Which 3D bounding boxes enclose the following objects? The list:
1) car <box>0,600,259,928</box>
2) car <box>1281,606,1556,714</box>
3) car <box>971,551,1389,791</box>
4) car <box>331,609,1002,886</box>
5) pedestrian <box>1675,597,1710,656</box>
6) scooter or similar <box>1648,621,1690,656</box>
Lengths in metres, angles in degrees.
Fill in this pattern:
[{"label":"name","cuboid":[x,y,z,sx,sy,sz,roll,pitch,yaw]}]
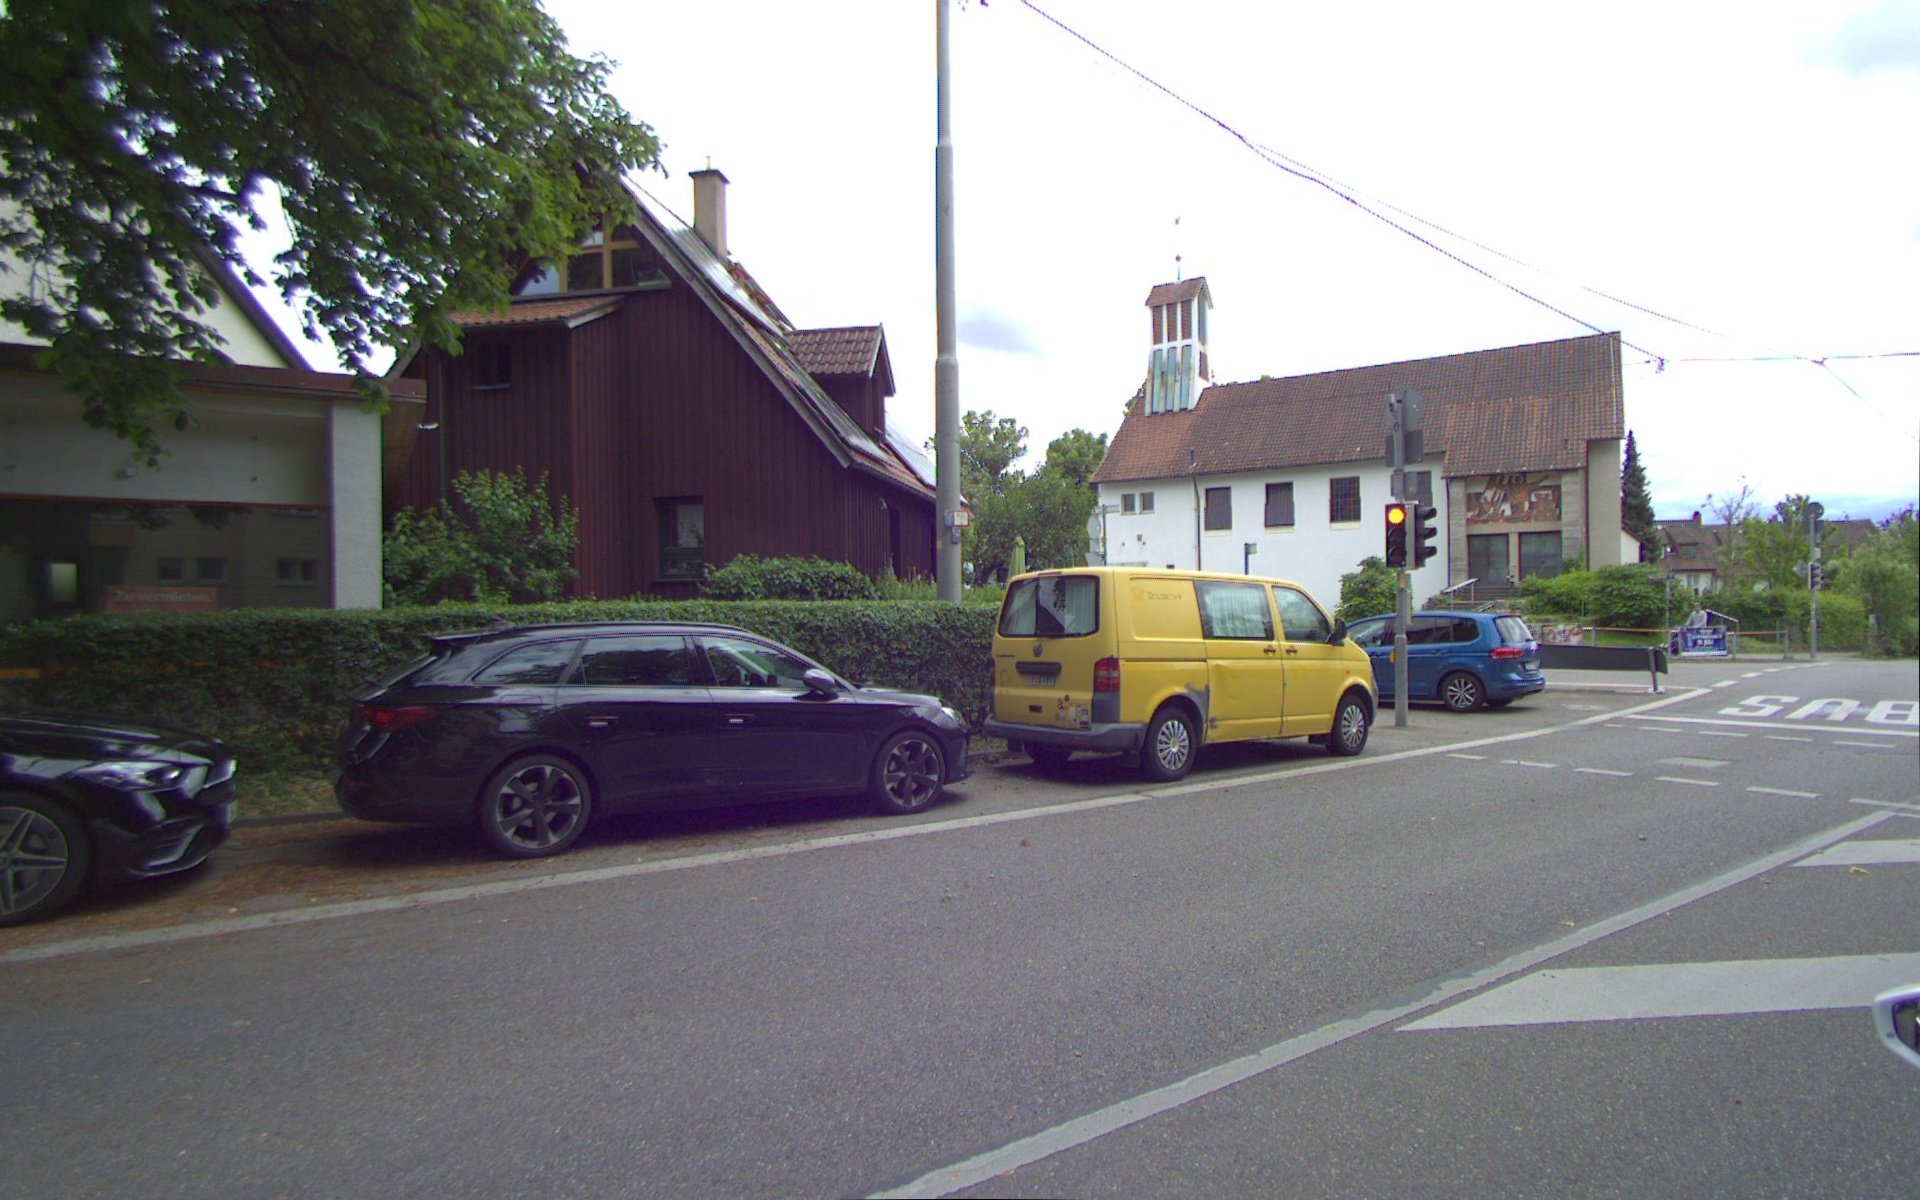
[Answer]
[{"label":"car","cuboid":[-6.210,0.768,4.752,4.561,1.520,1.984,1,-2,-31]},{"label":"car","cuboid":[7.816,0.994,17.364,1.806,1.632,3.948,1,-3,-44]},{"label":"car","cuboid":[2.464,0.651,10.681,4.523,2.040,1.870,1,-2,-37]},{"label":"car","cuboid":[-1.994,0.850,7.437,4.494,1.505,1.681,1,-2,-34]},{"label":"pedestrian","cuboid":[23.827,0.848,32.663,0.876,1.887,0.570,0,-1,-28]},{"label":"scooter or similar","cuboid":[22.899,1.235,32.447,1.094,1.095,0.575,0,-1,-19]}]
